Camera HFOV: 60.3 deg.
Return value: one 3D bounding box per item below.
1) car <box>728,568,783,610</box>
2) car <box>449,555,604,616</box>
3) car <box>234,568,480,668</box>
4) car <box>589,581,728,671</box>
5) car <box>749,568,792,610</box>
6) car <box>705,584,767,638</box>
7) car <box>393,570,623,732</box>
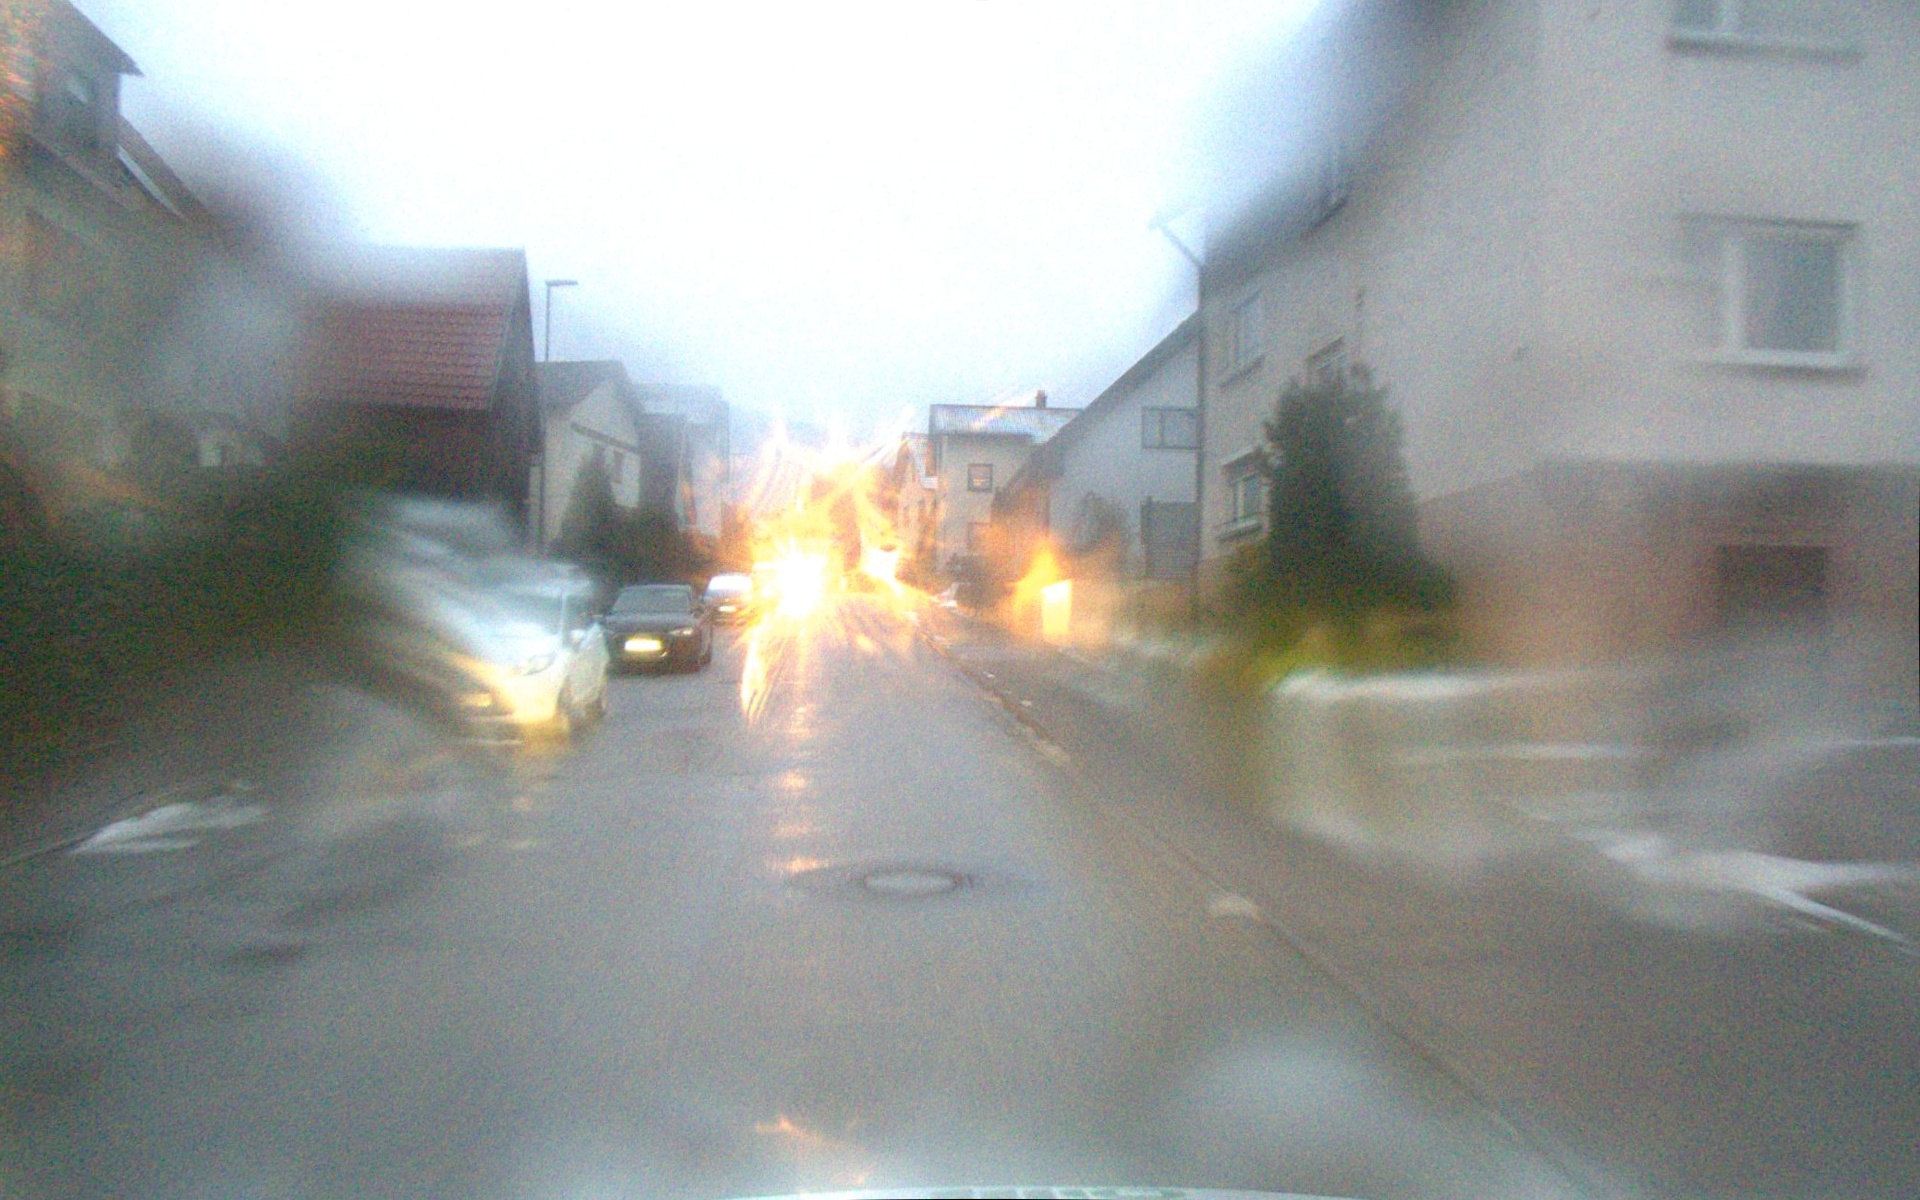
[{"bbox_3d":[-7.892,-0.453,64.178,1.758,1.529,4.308,-1,1,-3],"label":"car"},{"bbox_3d":[-12.305,-0.428,47.131,3.905,1.646,1.888,1,1,0],"label":"car"},{"bbox_3d":[-9.924,0.278,27.407,3.393,1.555,1.773,1,1,-1],"label":"car"},{"bbox_3d":[-5.205,0.404,29.156,1.840,1.419,5.071,-1,0,-4],"label":"car"},{"bbox_3d":[-8.861,-0.558,77.591,1.790,1.867,4.342,-1,1,-4],"label":"car"},{"bbox_3d":[-6.987,0.312,51.914,1.650,1.612,4.172,-1,0,-4],"label":"car"},{"bbox_3d":[-4.528,0.543,17.059,1.586,1.464,3.653,-1,-2,-4],"label":"car"}]
